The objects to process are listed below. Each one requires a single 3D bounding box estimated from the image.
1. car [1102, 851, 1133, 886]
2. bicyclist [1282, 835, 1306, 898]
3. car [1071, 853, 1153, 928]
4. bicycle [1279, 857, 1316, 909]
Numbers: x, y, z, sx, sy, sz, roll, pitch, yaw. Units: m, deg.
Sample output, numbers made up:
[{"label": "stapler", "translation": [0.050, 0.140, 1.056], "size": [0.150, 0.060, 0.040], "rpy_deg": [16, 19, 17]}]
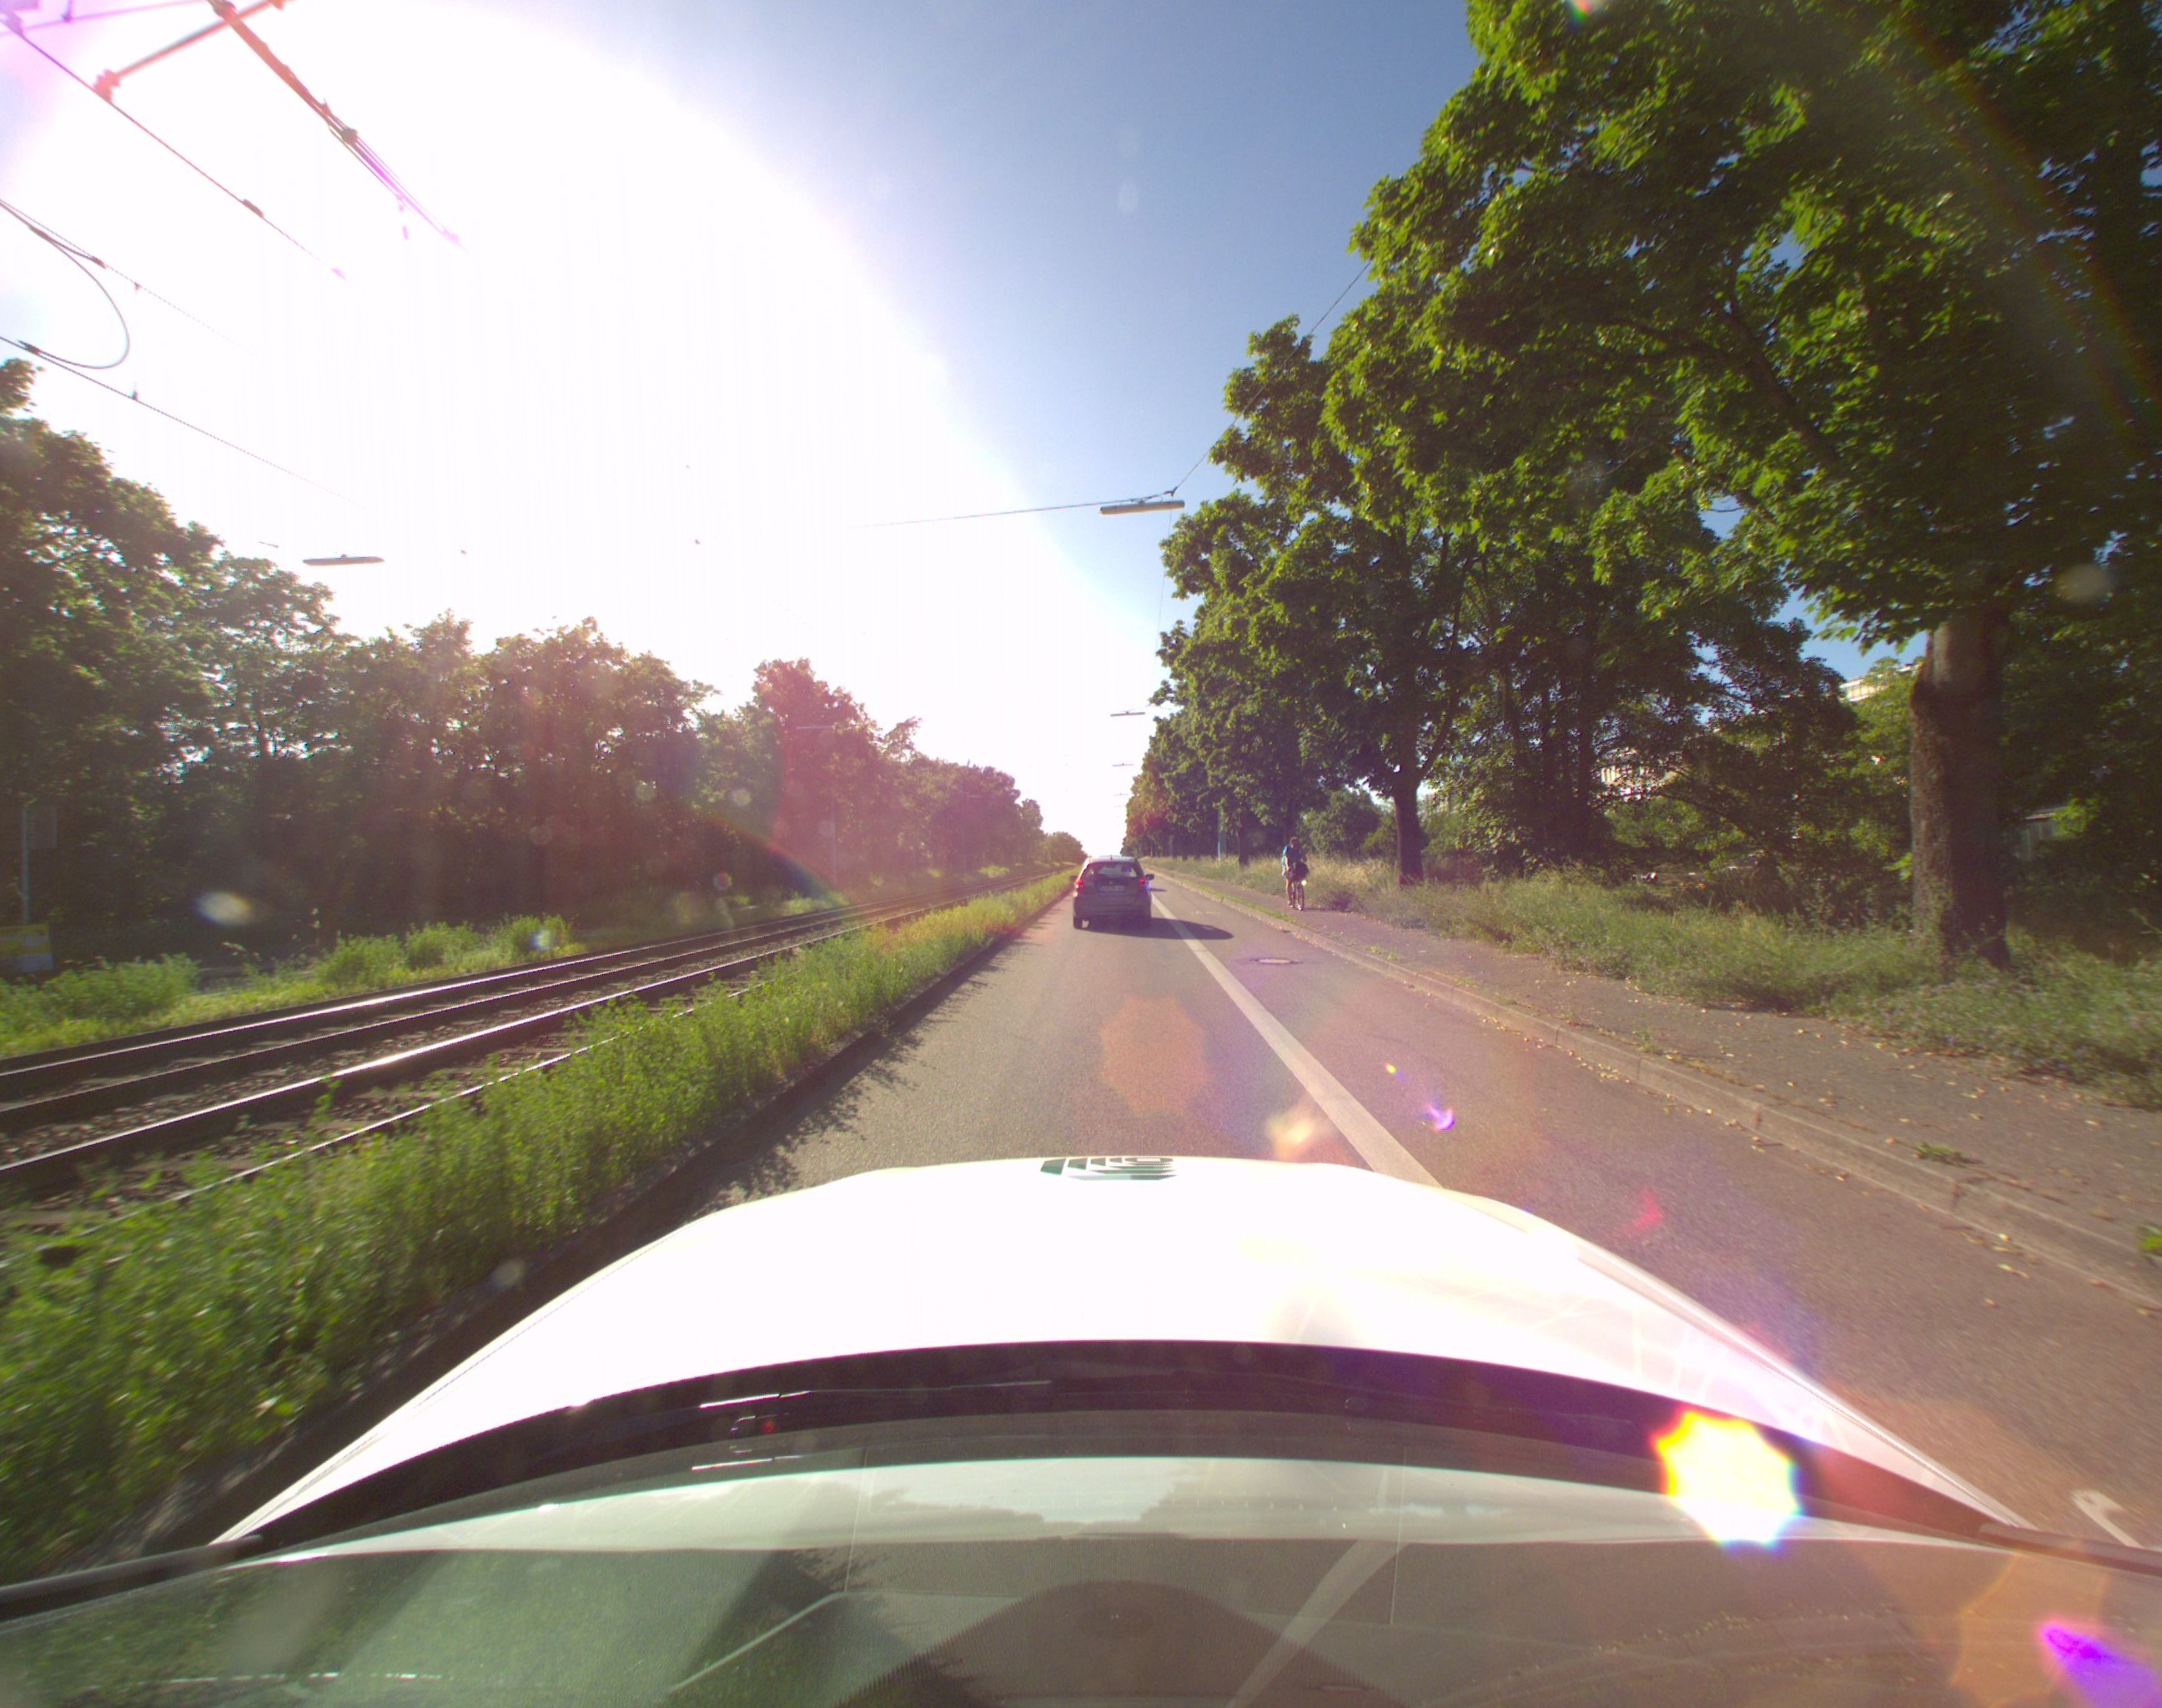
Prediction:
[{"label": "car", "translation": [1.715, 0.679, 37.950], "size": [1.345, 1.528, 3.126], "rpy_deg": [-2, -1, 3]}, {"label": "bicyclist", "translation": [5.188, 0.305, 19.845], "size": [0.404, 1.507, 0.575], "rpy_deg": [-2, 0, 1]}, {"label": "car", "translation": [0.680, 0.736, 18.505], "size": [1.665, 1.515, 3.674], "rpy_deg": [0, 0, 1]}, {"label": "bicycle", "translation": [5.193, 0.668, 19.605], "size": [0.416, 1.188, 1.722], "rpy_deg": [-2, 0, 2]}]
